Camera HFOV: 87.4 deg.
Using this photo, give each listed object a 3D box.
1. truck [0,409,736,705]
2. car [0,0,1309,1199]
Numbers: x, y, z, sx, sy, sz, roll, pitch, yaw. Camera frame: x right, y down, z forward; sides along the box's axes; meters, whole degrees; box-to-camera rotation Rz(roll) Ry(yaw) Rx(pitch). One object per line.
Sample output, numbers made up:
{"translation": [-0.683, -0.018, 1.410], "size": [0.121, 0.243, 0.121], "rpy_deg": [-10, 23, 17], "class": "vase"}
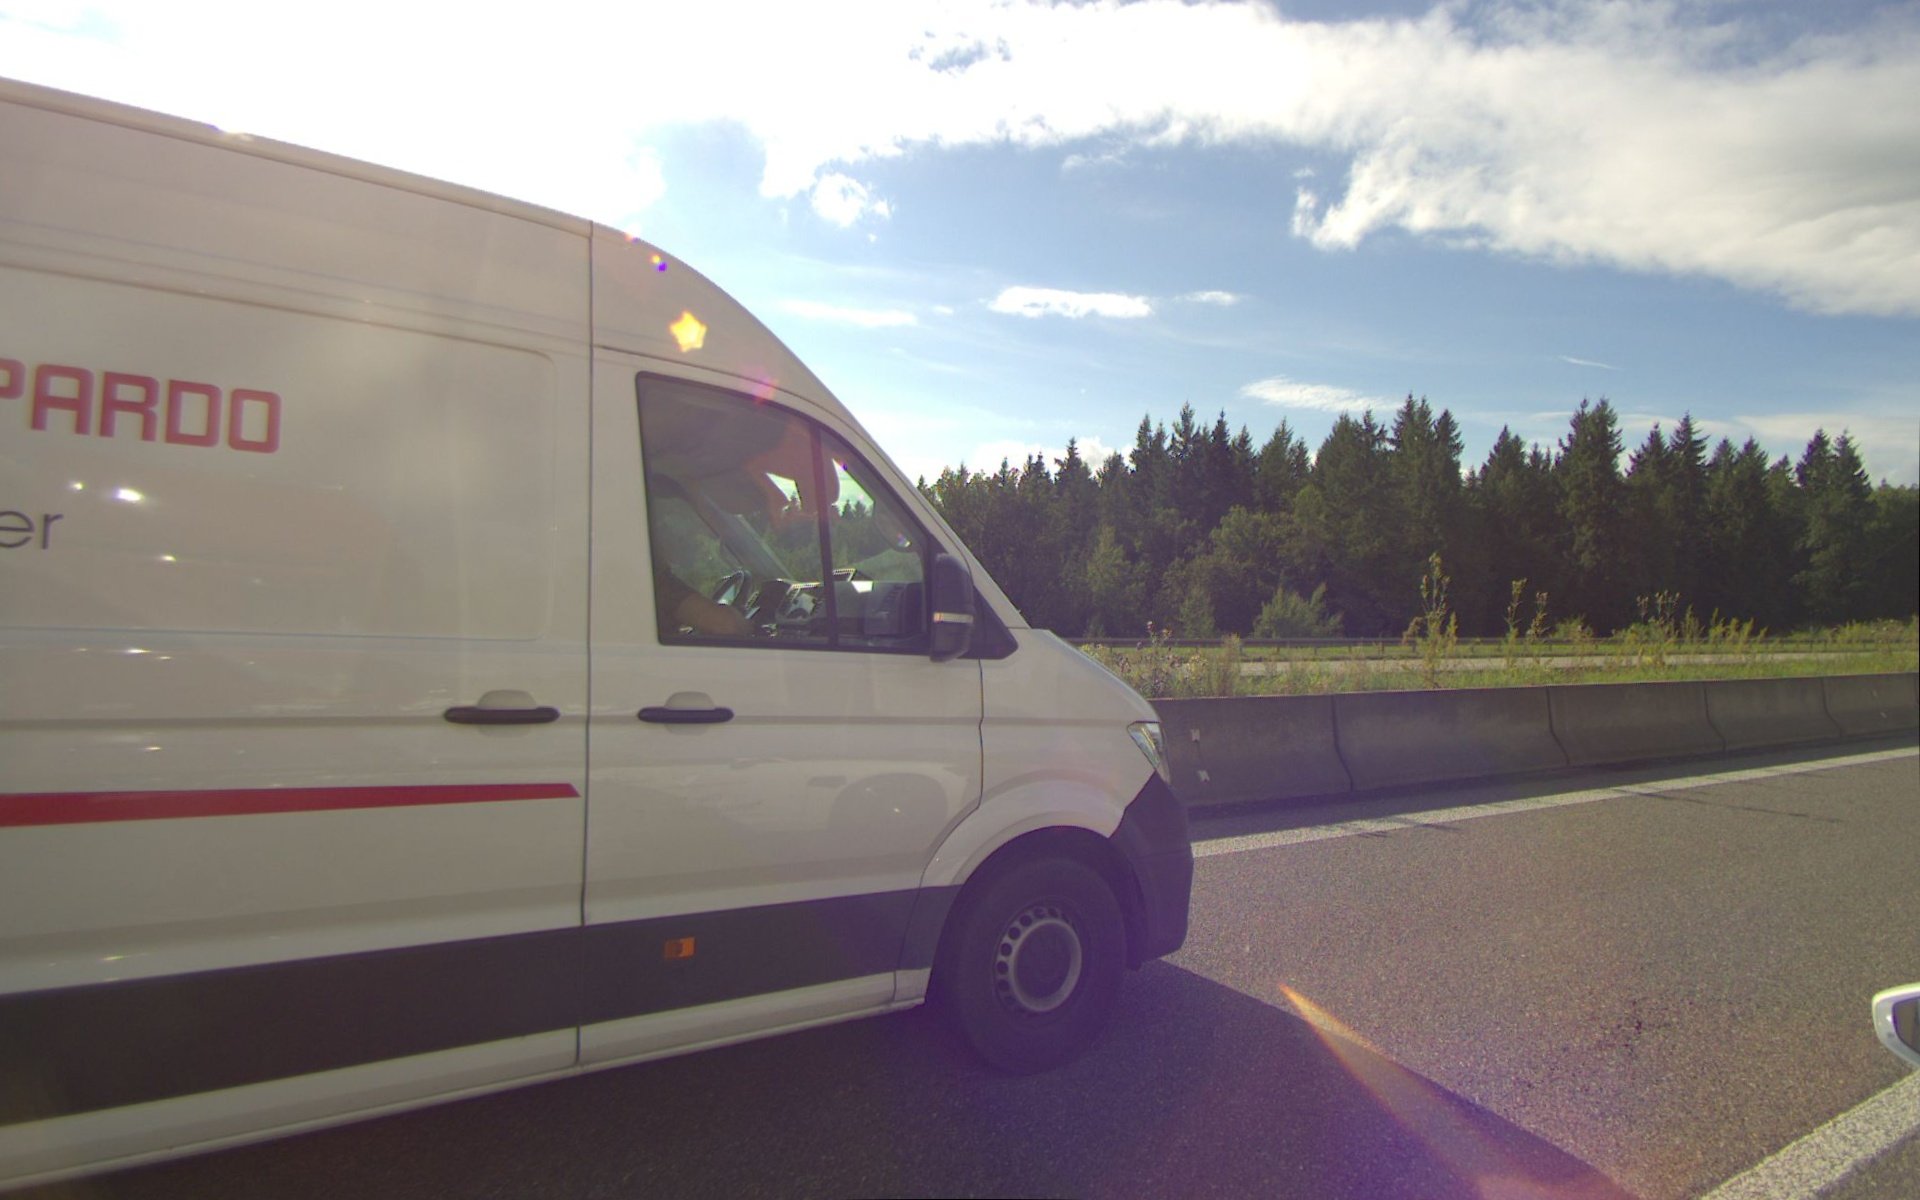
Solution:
{"translation": [-9.374, -0.436, 15.976], "size": [11.002, 3.738, 2.818], "rpy_deg": [2, -1, -30], "class": "truck"}
{"translation": [-1.816, 0.143, 3.043], "size": [6.110, 2.633, 2.005], "rpy_deg": [1, -1, -31], "class": "car"}
